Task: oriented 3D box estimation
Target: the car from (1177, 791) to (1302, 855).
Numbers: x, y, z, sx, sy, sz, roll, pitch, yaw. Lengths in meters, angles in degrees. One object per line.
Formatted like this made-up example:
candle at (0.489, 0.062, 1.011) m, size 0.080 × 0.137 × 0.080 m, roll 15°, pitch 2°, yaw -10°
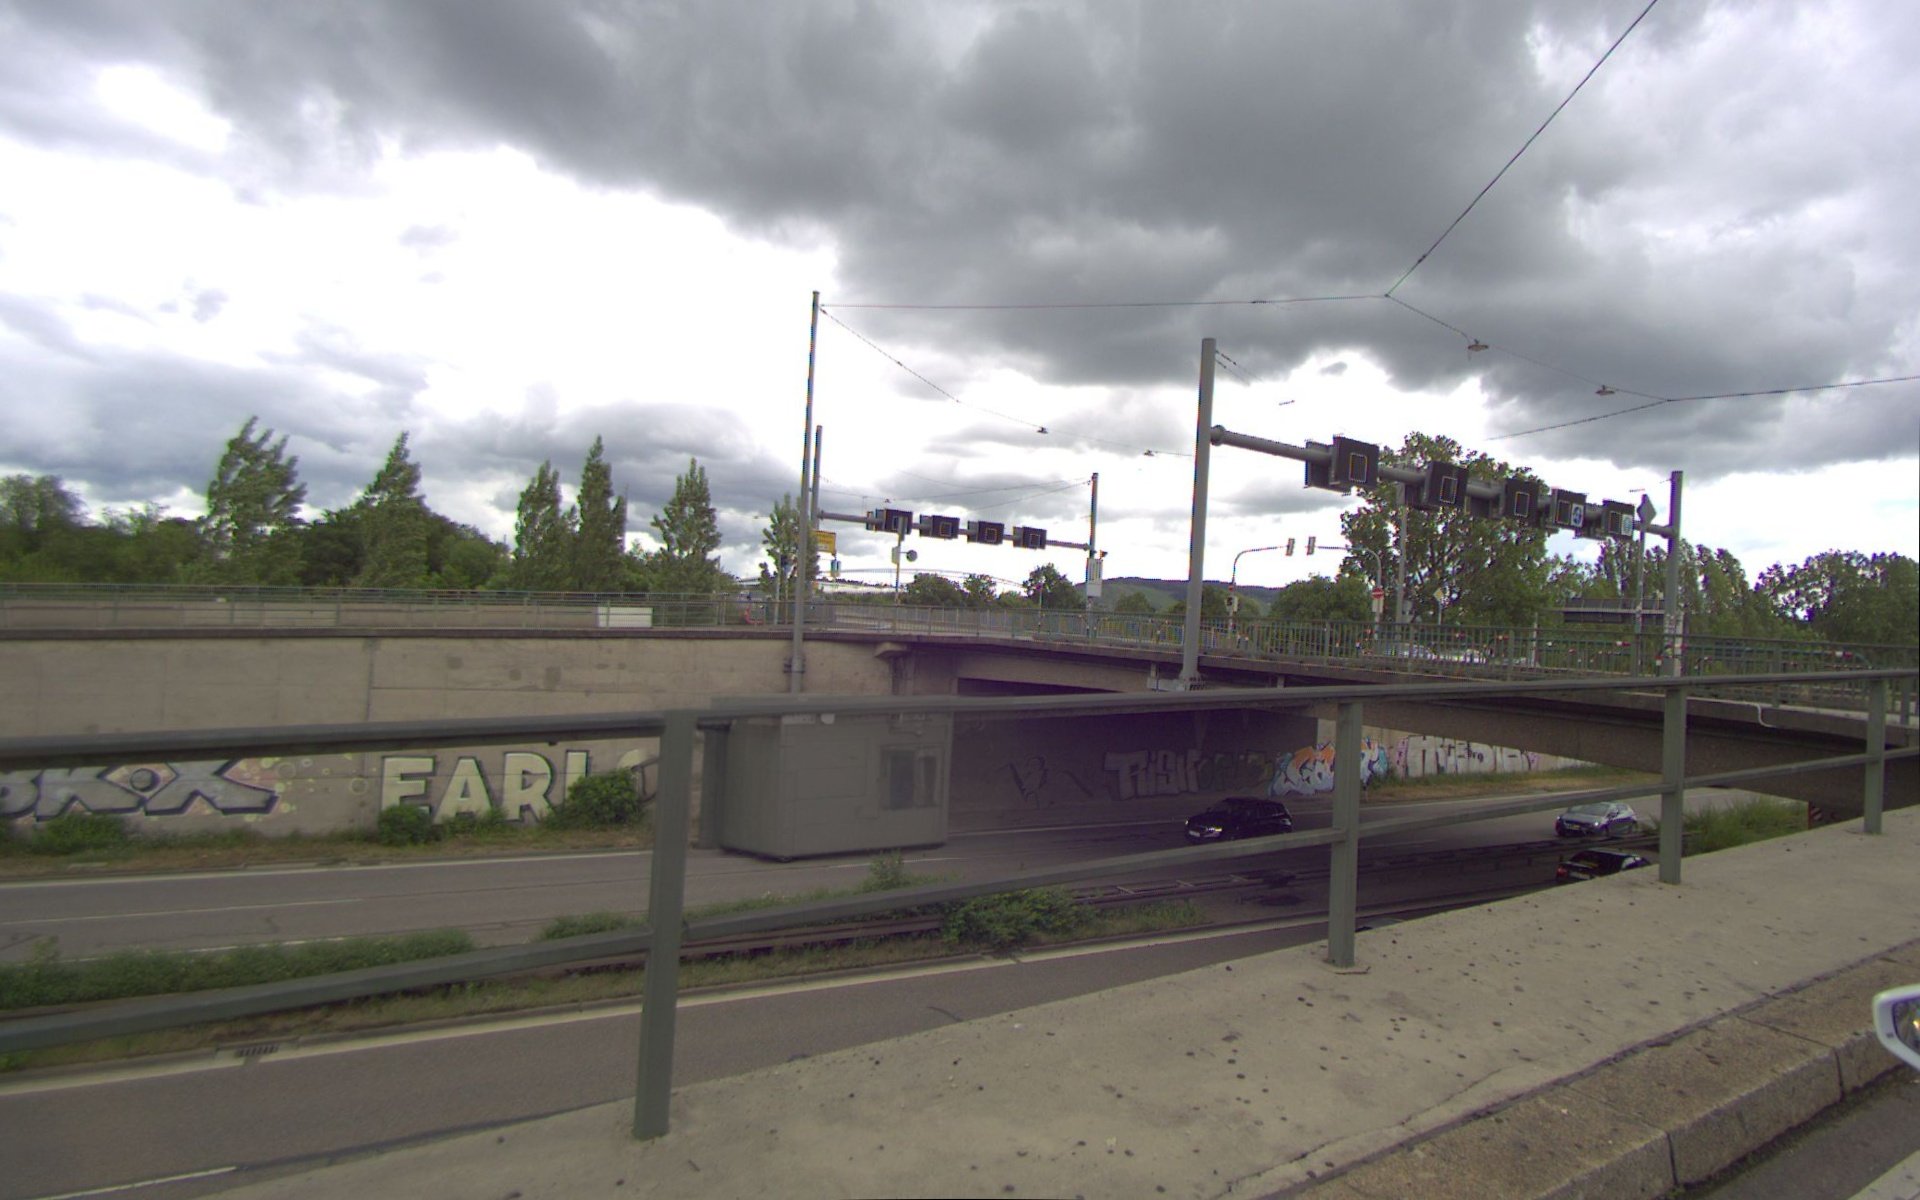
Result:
car at (9.831, 7.761, 35.238) m, size 4.134 × 1.741 × 1.873 m, roll 5°, pitch -3°, yaw -30°

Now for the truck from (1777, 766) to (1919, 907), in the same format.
truck at (30.685, 7.462, 32.845) m, size 9.757 × 3.570 × 2.870 m, roll 4°, pitch -4°, yaw -30°

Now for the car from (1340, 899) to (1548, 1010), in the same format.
car at (9.870, 7.113, 20.427) m, size 4.104 × 1.318 × 1.778 m, roll 5°, pitch -4°, yaw -29°

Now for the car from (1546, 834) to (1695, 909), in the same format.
car at (19.621, 7.990, 29.818) m, size 4.372 × 1.484 × 1.850 m, roll 5°, pitch -2°, yaw -29°

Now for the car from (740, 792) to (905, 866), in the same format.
car at (-4.166, 6.900, 30.601) m, size 4.581 × 1.673 × 1.851 m, roll 5°, pitch -3°, yaw -30°
